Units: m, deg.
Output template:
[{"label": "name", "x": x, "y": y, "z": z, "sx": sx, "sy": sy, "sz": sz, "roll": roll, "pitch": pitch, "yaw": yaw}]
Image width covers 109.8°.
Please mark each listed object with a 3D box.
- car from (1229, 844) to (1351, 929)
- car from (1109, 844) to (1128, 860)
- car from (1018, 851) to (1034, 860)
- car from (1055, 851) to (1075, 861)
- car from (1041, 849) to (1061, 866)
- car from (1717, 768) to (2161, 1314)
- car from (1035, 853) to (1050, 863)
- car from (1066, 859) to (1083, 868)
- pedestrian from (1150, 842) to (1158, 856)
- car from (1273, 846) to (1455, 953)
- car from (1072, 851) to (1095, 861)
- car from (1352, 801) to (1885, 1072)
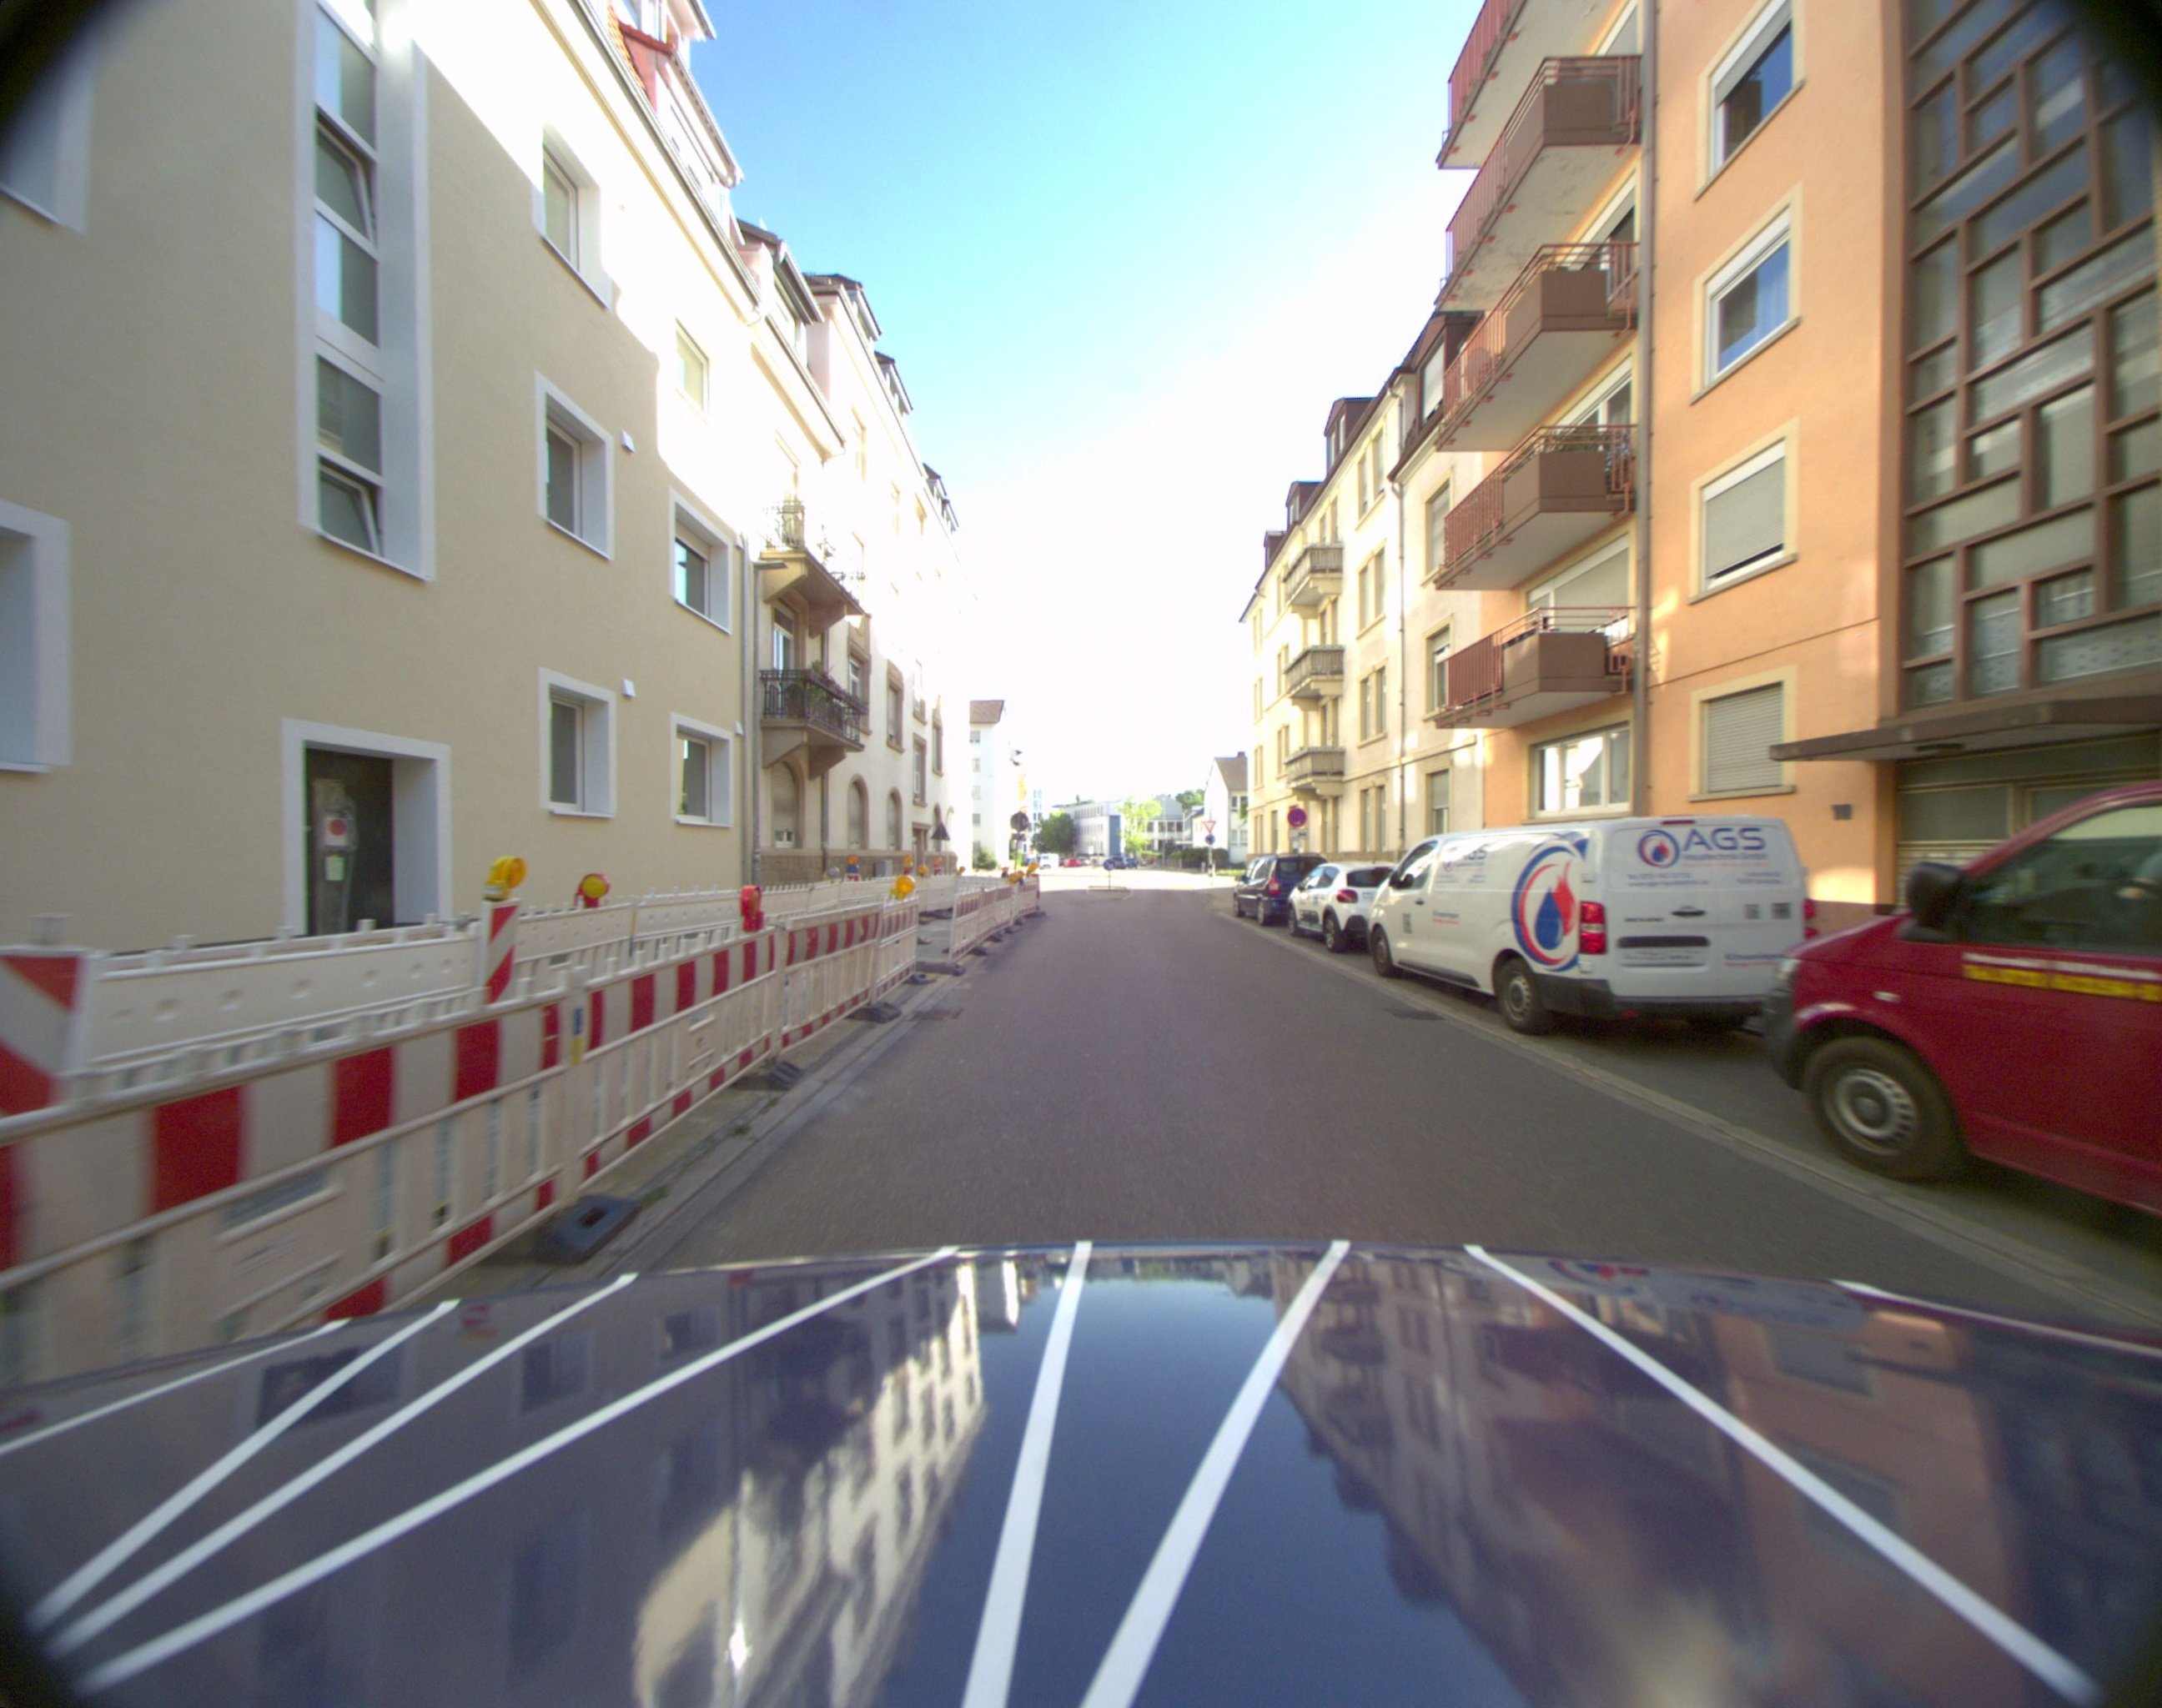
[{"label": "car", "x": 4.883, "y": 0.682, "z": 18.371, "sx": 1.767, "sy": 1.761, "sz": 4.294, "roll": -1, "pitch": 0, "yaw": 1}, {"label": "car", "x": 4.314, "y": -0.205, "z": 88.192, "sx": 1.879, "sy": 1.685, "sz": 4.273, "roll": -1, "pitch": 0, "yaw": -1}, {"label": "car", "x": -11.851, "y": 0.397, "z": 163.475, "sx": 2.141, "sy": 1.800, "sz": 4.827, "roll": -2, "pitch": 1, "yaw": -20}, {"label": "car", "x": -2.934, "y": 0.358, "z": 138.338, "sx": 2.141, "sy": 1.604, "sz": 4.827, "roll": -2, "pitch": 1, "yaw": -20}, {"label": "car", "x": -3.732, "y": 0.425, "z": 95.501, "sx": 1.998, "sy": 2.002, "sz": 4.798, "roll": 2, "pitch": 0, "yaw": 2}, {"label": "car", "x": 4.646, "y": 0.638, "z": 2.042, "sx": 1.767, "sy": 1.914, "sz": 4.934, "roll": -1, "pitch": 0, "yaw": 1}, {"label": "car", "x": -6.173, "y": 0.560, "z": 121.279, "sx": 1.760, "sy": 1.445, "sz": 3.995, "roll": 3, "pitch": 0, "yaw": -13}, {"label": "car", "x": -1.110, "y": 1.464, "z": 122.405, "sx": 1.718, "sy": 1.374, "sz": 3.995, "roll": 1, "pitch": 0, "yaw": -15}, {"label": "pedestrian", "x": 9.264, "y": -0.644, "z": 97.042, "sx": 0.819, "sy": 1.696, "sz": 0.997, "roll": -2, "pitch": 1, "yaw": -4}, {"label": "car", "x": 4.936, "y": 0.703, "z": 13.942, "sx": 1.767, "sy": 1.611, "sz": 4.294, "roll": -1, "pitch": 0, "yaw": 1}, {"label": "car", "x": 0.412, "y": 0.297, "z": 128.984, "sx": 2.141, "sy": 1.604, "sz": 4.827, "roll": -2, "pitch": 1, "yaw": -21}, {"label": "car", "x": 4.839, "y": 0.590, "z": 8.154, "sx": 1.980, "sy": 1.914, "sz": 5.309, "roll": -1, "pitch": 0, "yaw": 1}]
